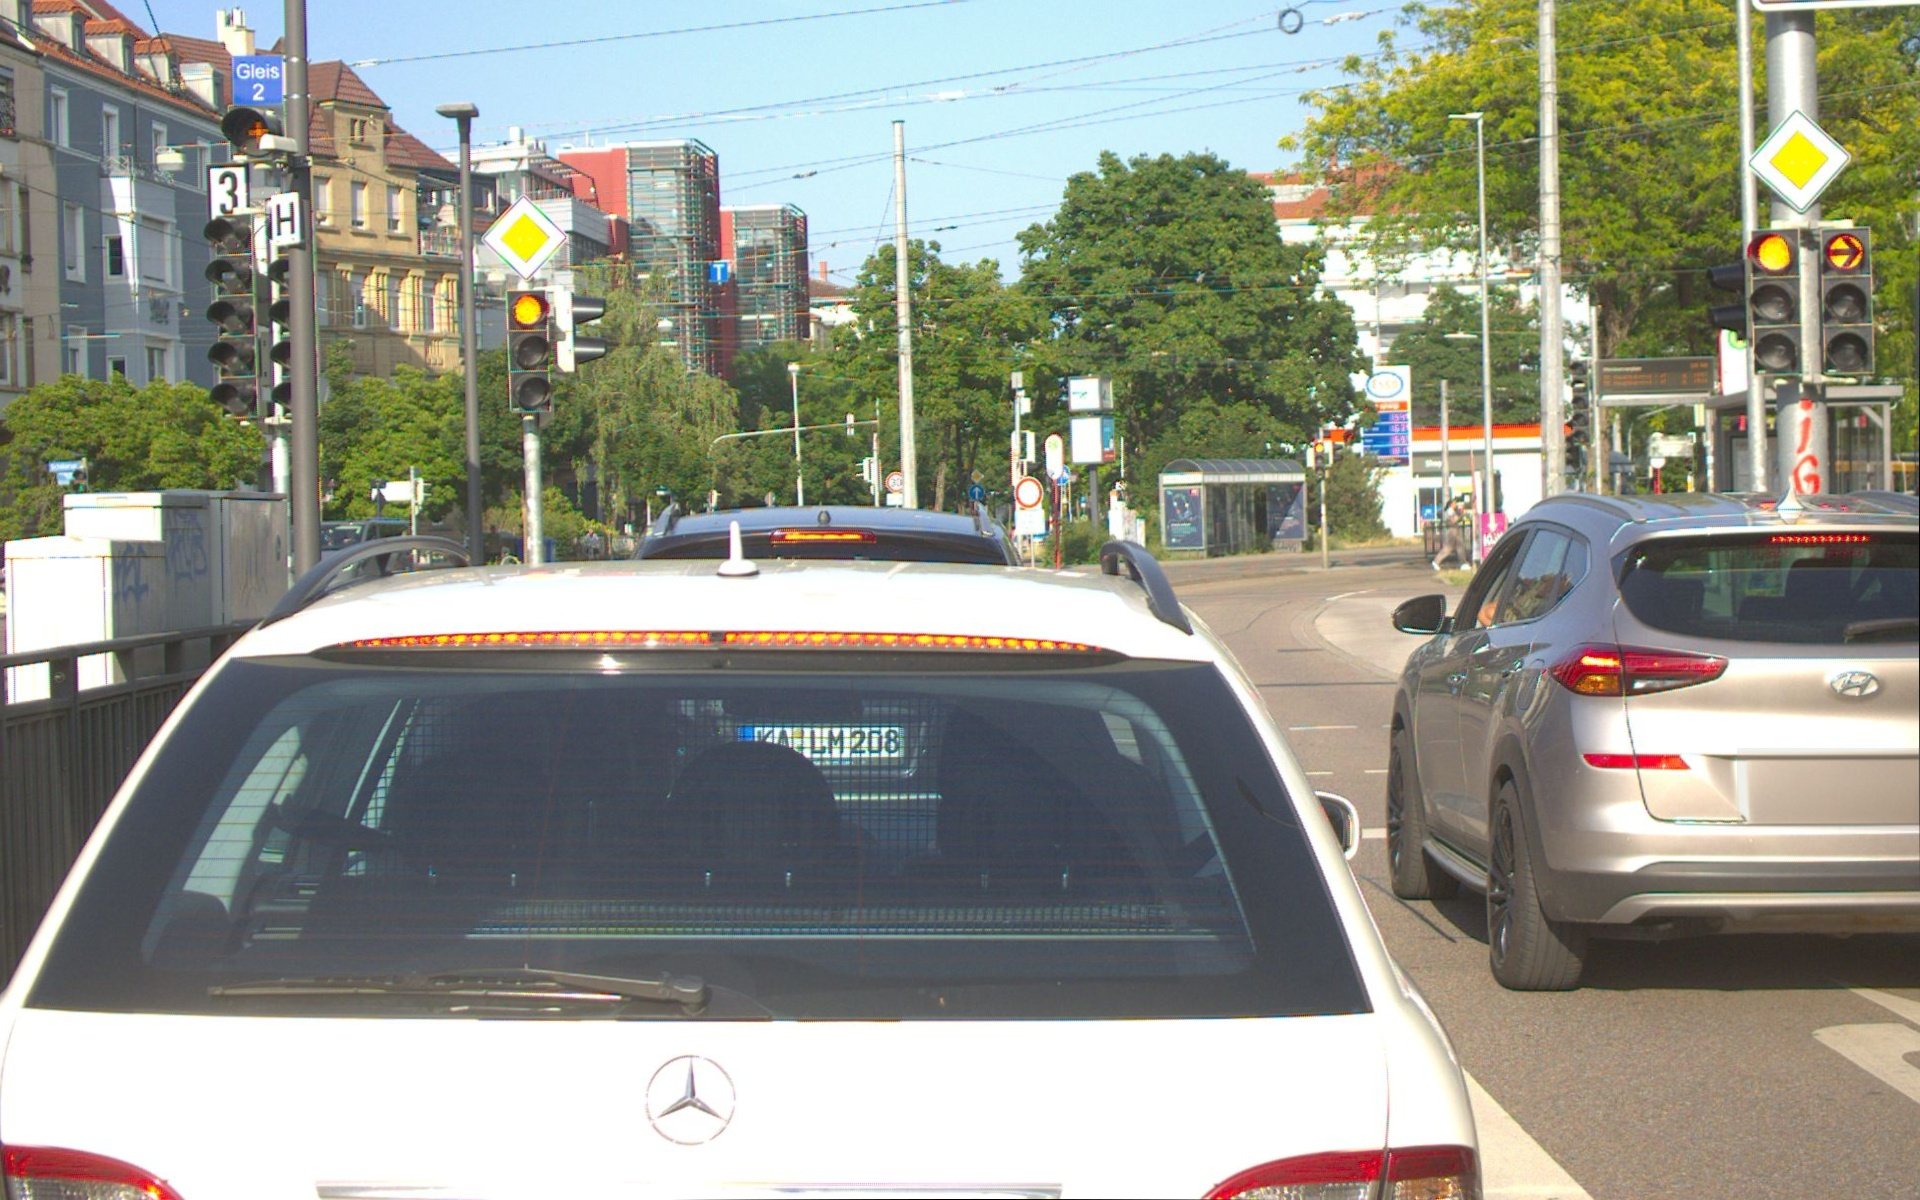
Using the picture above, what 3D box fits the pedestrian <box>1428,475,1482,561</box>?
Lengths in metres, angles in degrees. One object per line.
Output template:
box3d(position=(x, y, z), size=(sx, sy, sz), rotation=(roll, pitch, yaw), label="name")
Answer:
box3d(position=(11.844, -1.961, 82.244), size=(0.997, 2.007, 0.827), rotation=(-1, 1, 27), label="pedestrian")

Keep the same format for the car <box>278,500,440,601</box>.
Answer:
box3d(position=(-12.637, -1.067, 72.645), size=(2.145, 2.007, 5.387), rotation=(-2, 1, 3), label="car")

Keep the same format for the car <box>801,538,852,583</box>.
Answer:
box3d(position=(-5.045, -1.514, 130.227), size=(1.676, 1.520, 4.125), rotation=(-2, 2, 0), label="car")

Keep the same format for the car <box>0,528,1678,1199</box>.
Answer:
box3d(position=(-0.276, 0.645, 5.097), size=(1.835, 1.496, 3.815), rotation=(0, 1, -1), label="car")

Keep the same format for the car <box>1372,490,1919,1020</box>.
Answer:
box3d(position=(2.638, 0.426, 12.252), size=(1.835, 1.594, 3.815), rotation=(0, 1, -1), label="car")

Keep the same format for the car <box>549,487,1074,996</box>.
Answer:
box3d(position=(-0.487, 0.403, 12.675), size=(1.641, 1.594, 3.815), rotation=(0, 1, -1), label="car")

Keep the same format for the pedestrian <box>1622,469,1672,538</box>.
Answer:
box3d(position=(16.191, -2.278, 81.014), size=(1.007, 1.586, 0.865), rotation=(-1, 1, 19), label="pedestrian")

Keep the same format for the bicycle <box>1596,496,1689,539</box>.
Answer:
box3d(position=(16.089, -1.942, 81.061), size=(2.019, 0.943, 0.878), rotation=(-1, 1, 19), label="bicycle")

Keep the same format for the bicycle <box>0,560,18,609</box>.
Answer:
box3d(position=(-20.591, -0.300, 71.187), size=(1.990, 1.003, 0.743), rotation=(-2, 1, -22), label="bicycle")
